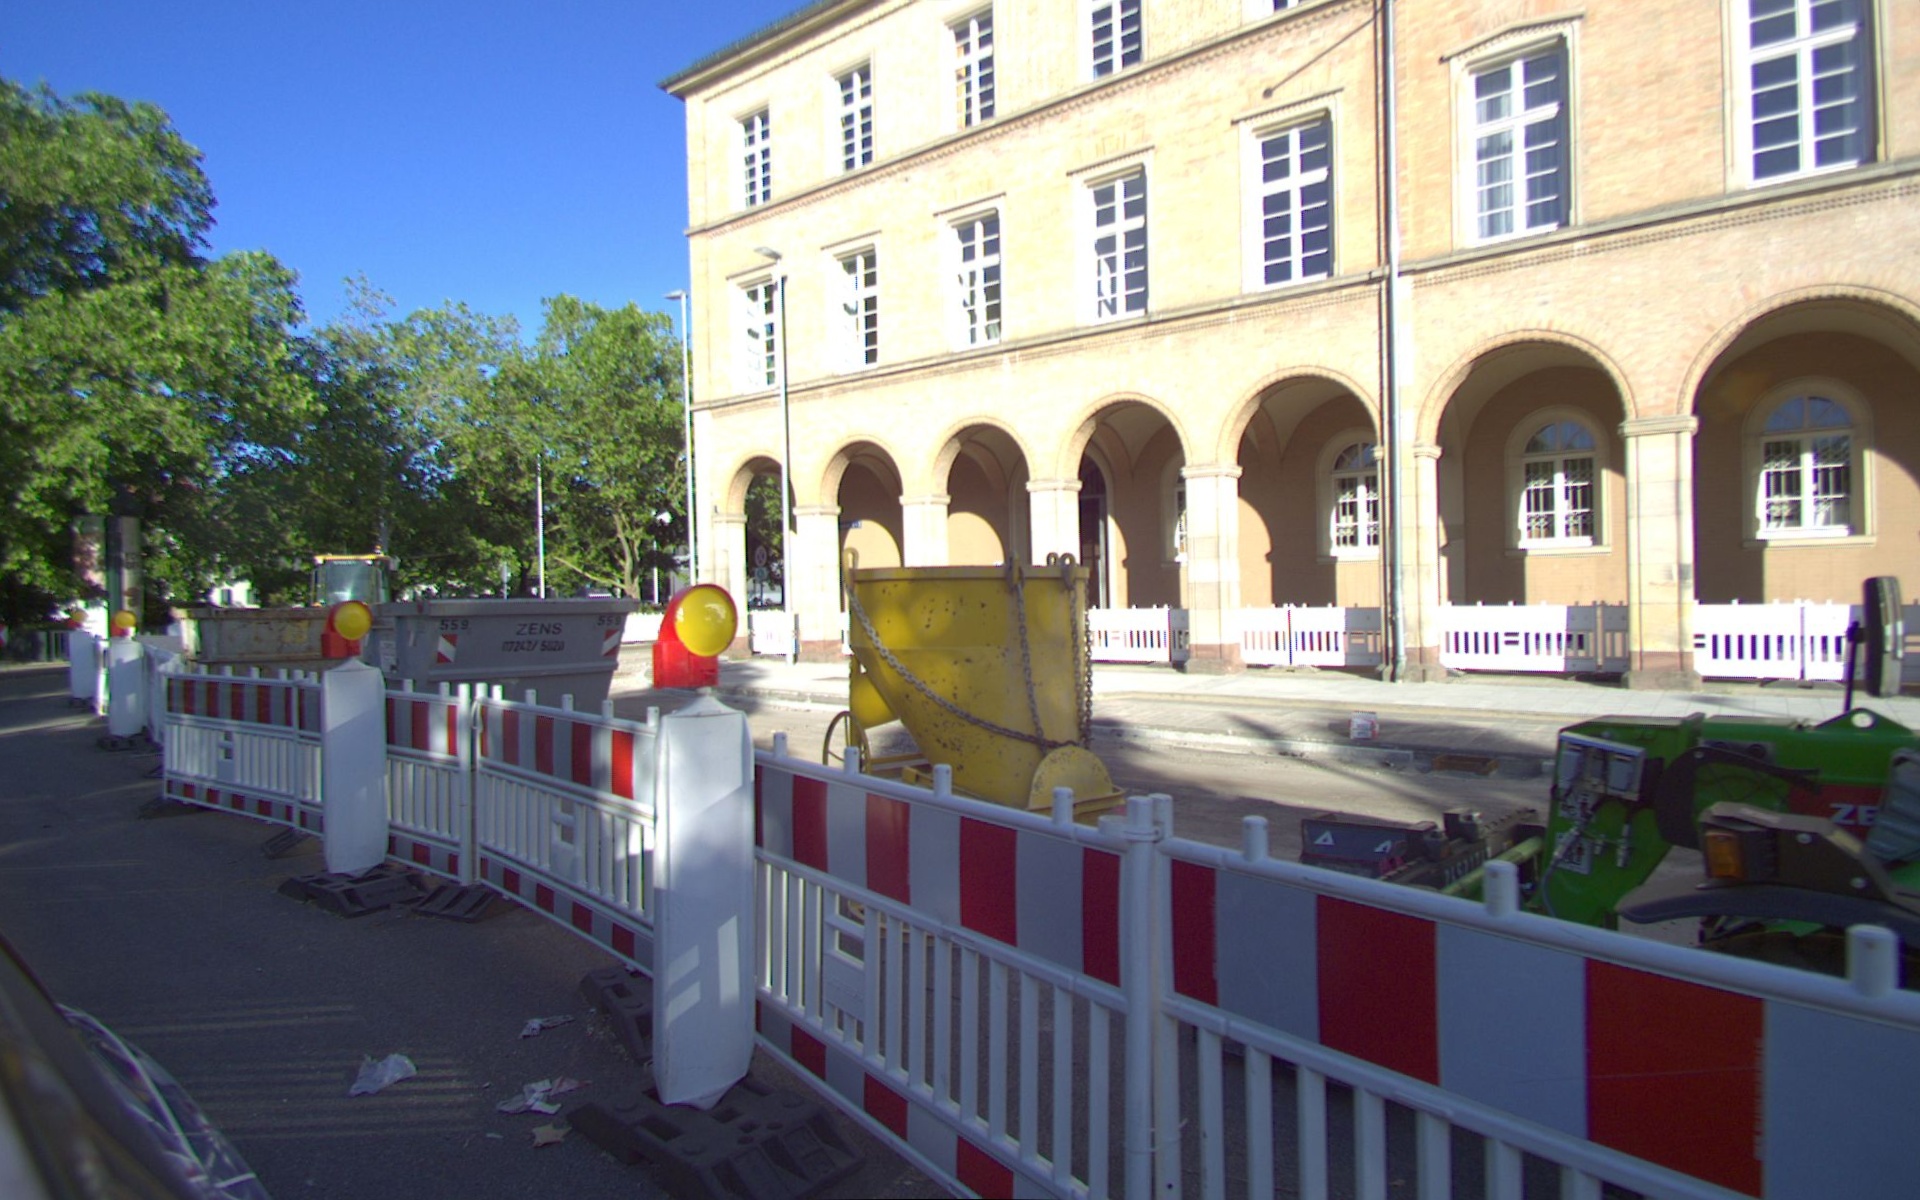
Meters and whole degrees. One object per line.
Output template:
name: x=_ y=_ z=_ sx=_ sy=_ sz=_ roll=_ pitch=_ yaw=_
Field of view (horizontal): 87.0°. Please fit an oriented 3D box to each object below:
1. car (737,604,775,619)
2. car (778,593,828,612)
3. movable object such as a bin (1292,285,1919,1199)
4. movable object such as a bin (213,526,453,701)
car: x=-21.282 y=1.242 z=105.616 sx=3.836 sy=1.496 sz=1.613 roll=-1 pitch=0 yaw=30
car: x=-15.899 y=0.217 z=102.509 sx=4.701 sy=1.842 sz=2.088 roll=-1 pitch=0 yaw=30
movable object such as a bin: x=3.075 y=0.405 z=1.620 sx=2.026 sy=1.964 sz=4.337 roll=-1 pitch=-1 yaw=-44
movable object such as a bin: x=-12.539 y=0.228 z=20.855 sx=2.524 sy=3.054 sz=5.948 roll=-1 pitch=0 yaw=-14
